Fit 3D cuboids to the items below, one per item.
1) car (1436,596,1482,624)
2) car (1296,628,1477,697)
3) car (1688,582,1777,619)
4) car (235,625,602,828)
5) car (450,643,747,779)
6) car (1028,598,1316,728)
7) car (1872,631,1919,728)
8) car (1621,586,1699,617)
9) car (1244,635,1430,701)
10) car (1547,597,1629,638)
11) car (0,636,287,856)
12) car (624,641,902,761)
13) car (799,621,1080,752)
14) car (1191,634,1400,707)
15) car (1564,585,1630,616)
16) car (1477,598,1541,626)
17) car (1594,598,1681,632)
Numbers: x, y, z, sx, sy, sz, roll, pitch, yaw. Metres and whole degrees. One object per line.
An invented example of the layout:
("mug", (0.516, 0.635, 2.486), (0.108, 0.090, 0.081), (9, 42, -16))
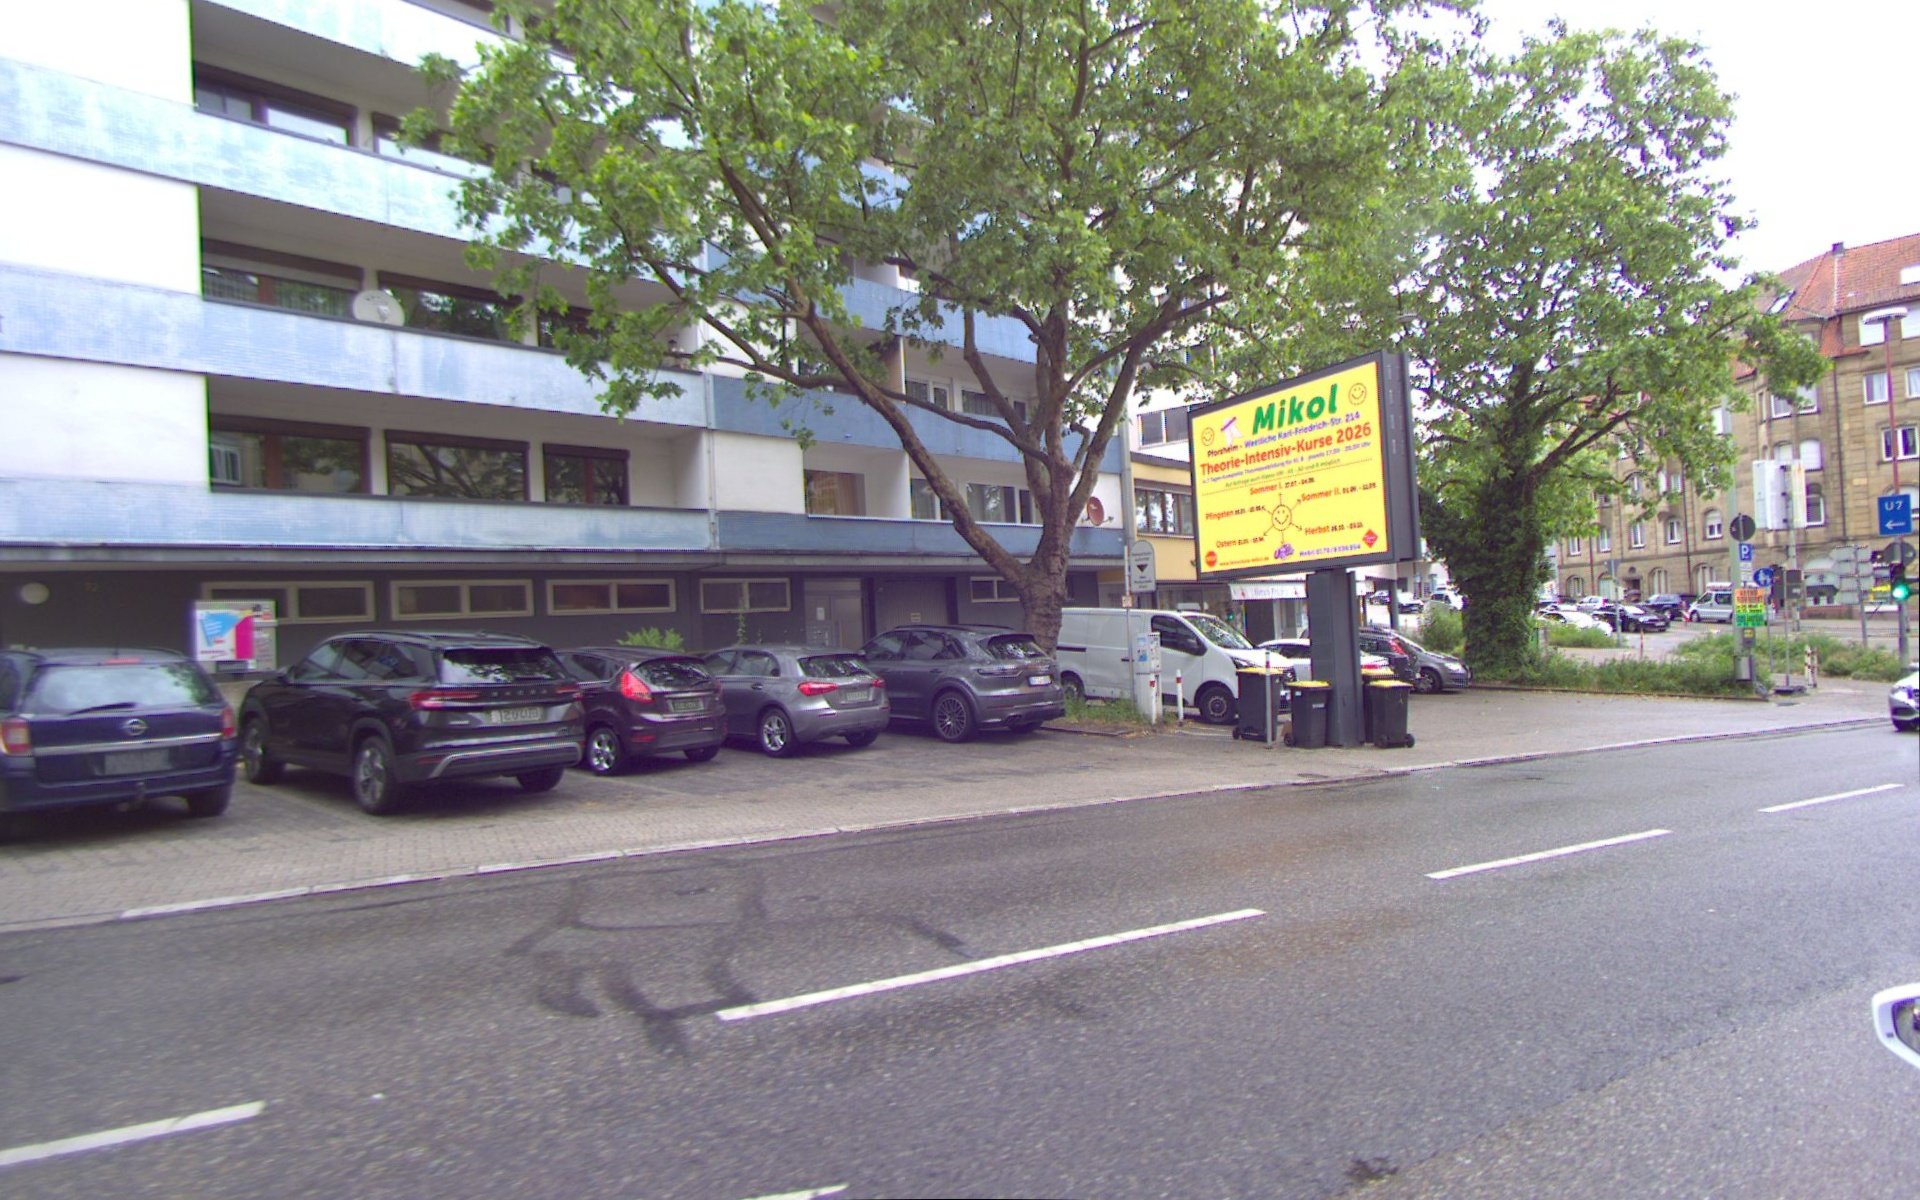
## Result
("car", (37.245, 0.742, 75.086), (1.545, 2.040, 4.001), (0, -1, 2))
("car", (11.132, 1.587, 26.333), (4.072, 1.675, 1.762), (-1, -2, 38))
("car", (45.857, 0.005, 59.774), (1.961, 2.130, 4.291), (-1, 1, -1))
("car", (-5.773, 1.121, 10.505), (4.312, 1.694, 1.847), (-1, -2, 39))
("car", (-4.719, 1.302, 12.936), (3.929, 1.449, 1.692), (-1, -2, 36))
("car", (3.872, 1.111, 18.953), (5.001, 2.133, 1.983), (-1, -2, 41))
("car", (17.317, 1.271, 16.809), (4.419, 1.546, 1.730), (1, -5, -30))
("car", (44.939, 0.069, 64.591), (1.961, 1.863, 4.291), (-1, 1, -1))
("car", (9.182, 1.592, 24.611), (3.926, 1.469, 1.761), (-1, -2, 41))
("car", (32.742, 0.959, 52.514), (1.841, 2.040, 4.002), (0, -2, 2))
("car", (-8.195, 1.148, 9.415), (4.303, 1.595, 1.935), (-1, -2, 39))
("car", (-2.874, 1.332, 14.341), (3.870, 1.449, 1.742), (-1, -2, 36))
("car", (-0.415, 1.258, 16.001), (4.305, 1.807, 1.930), (-1, -2, 41))
("car", (7.493, 1.515, 22.649), (4.122, 1.475, 1.786), (-1, -2, 41))
("car", (45.558, -0.020, 71.942), (1.961, 2.130, 4.291), (-1, 1, -1))
("car", (37.000, 0.792, 67.858), (1.961, 1.749, 4.250), (-2, -1, 0))
("car", (36.998, 0.795, 54.989), (1.960, 1.749, 4.250), (-1, 0, 2))
